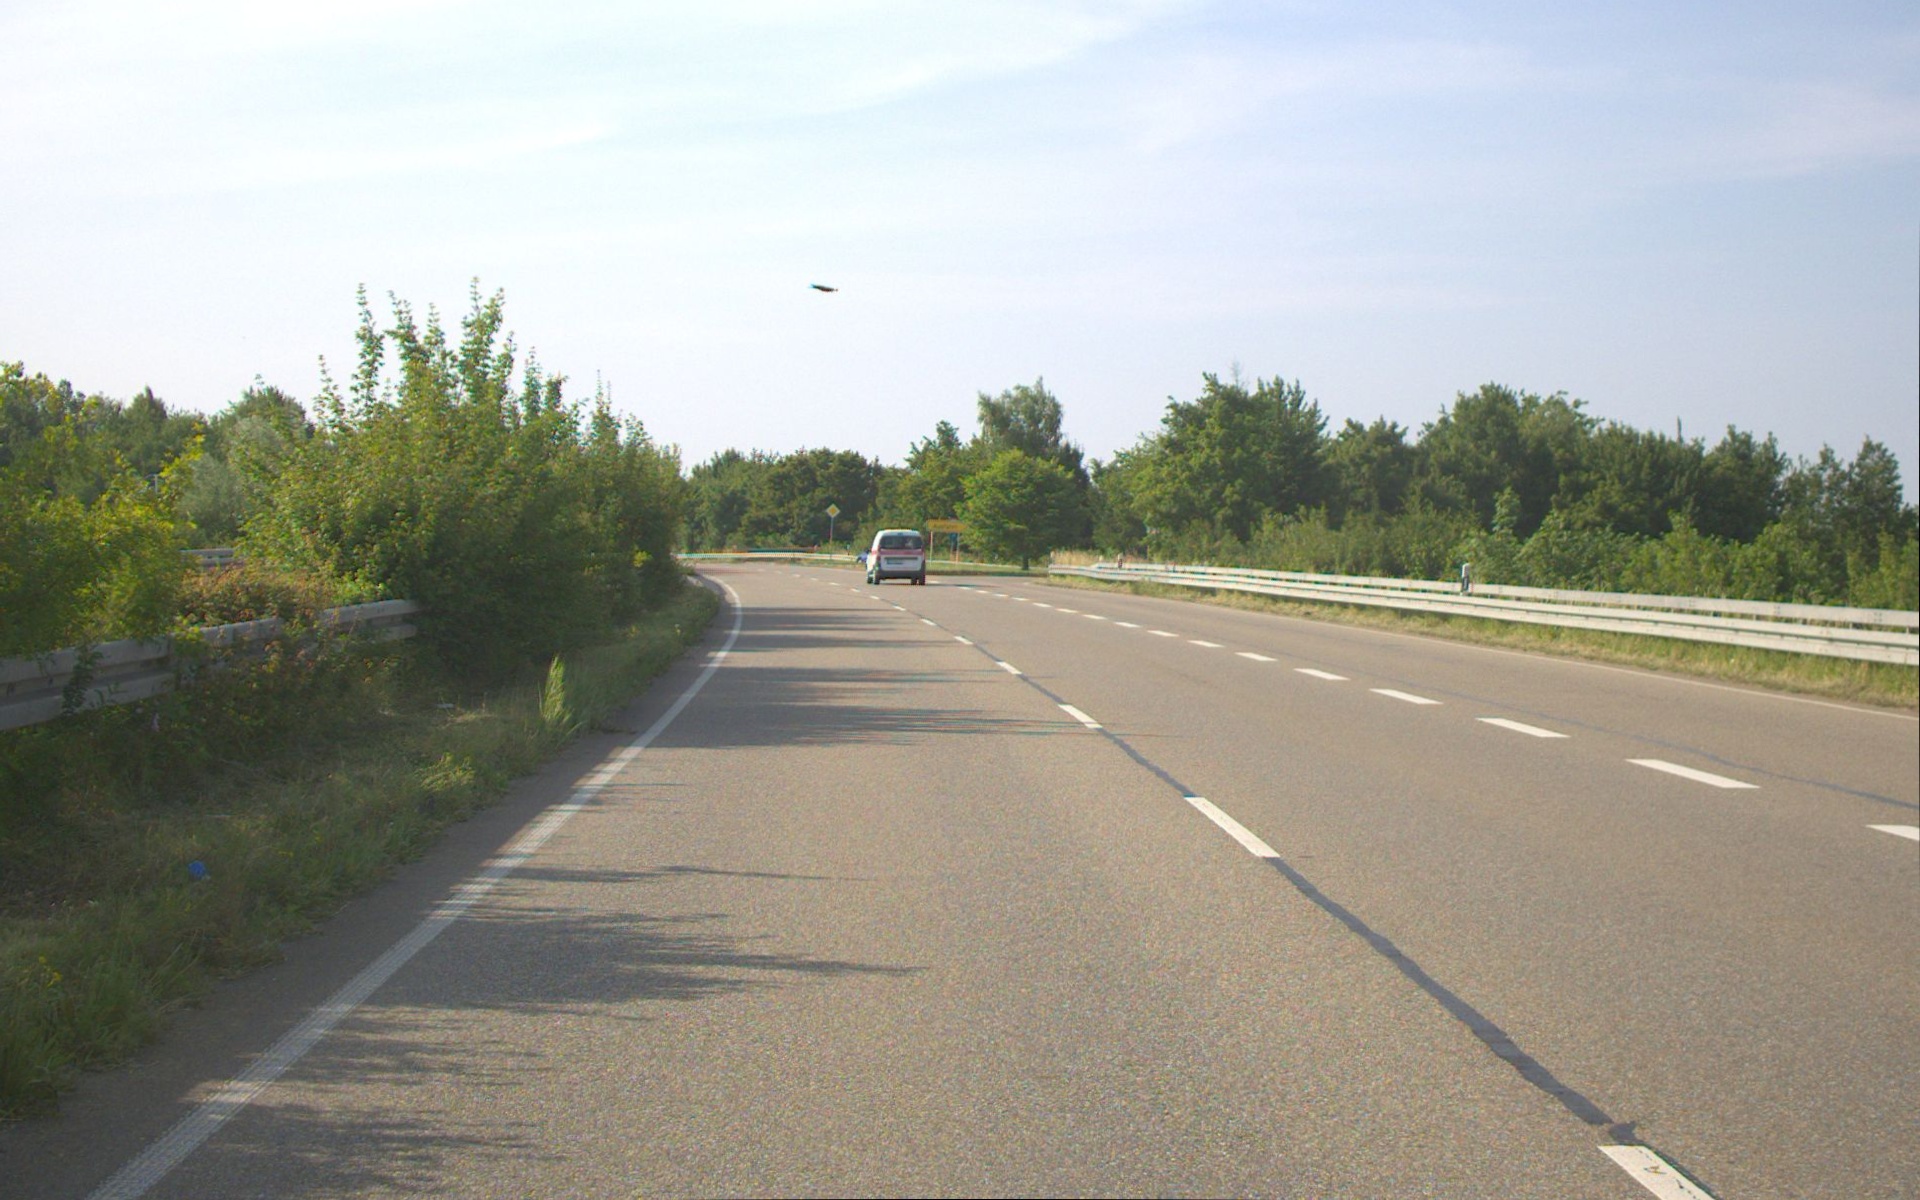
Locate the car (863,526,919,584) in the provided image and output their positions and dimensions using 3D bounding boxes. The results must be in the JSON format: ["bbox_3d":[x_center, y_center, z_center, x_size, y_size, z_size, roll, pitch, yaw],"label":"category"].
[{"bbox_3d":[-2.257,-1.469,113.527,1.765,1.875,4.000,1,0,0],"label":"car"}]
